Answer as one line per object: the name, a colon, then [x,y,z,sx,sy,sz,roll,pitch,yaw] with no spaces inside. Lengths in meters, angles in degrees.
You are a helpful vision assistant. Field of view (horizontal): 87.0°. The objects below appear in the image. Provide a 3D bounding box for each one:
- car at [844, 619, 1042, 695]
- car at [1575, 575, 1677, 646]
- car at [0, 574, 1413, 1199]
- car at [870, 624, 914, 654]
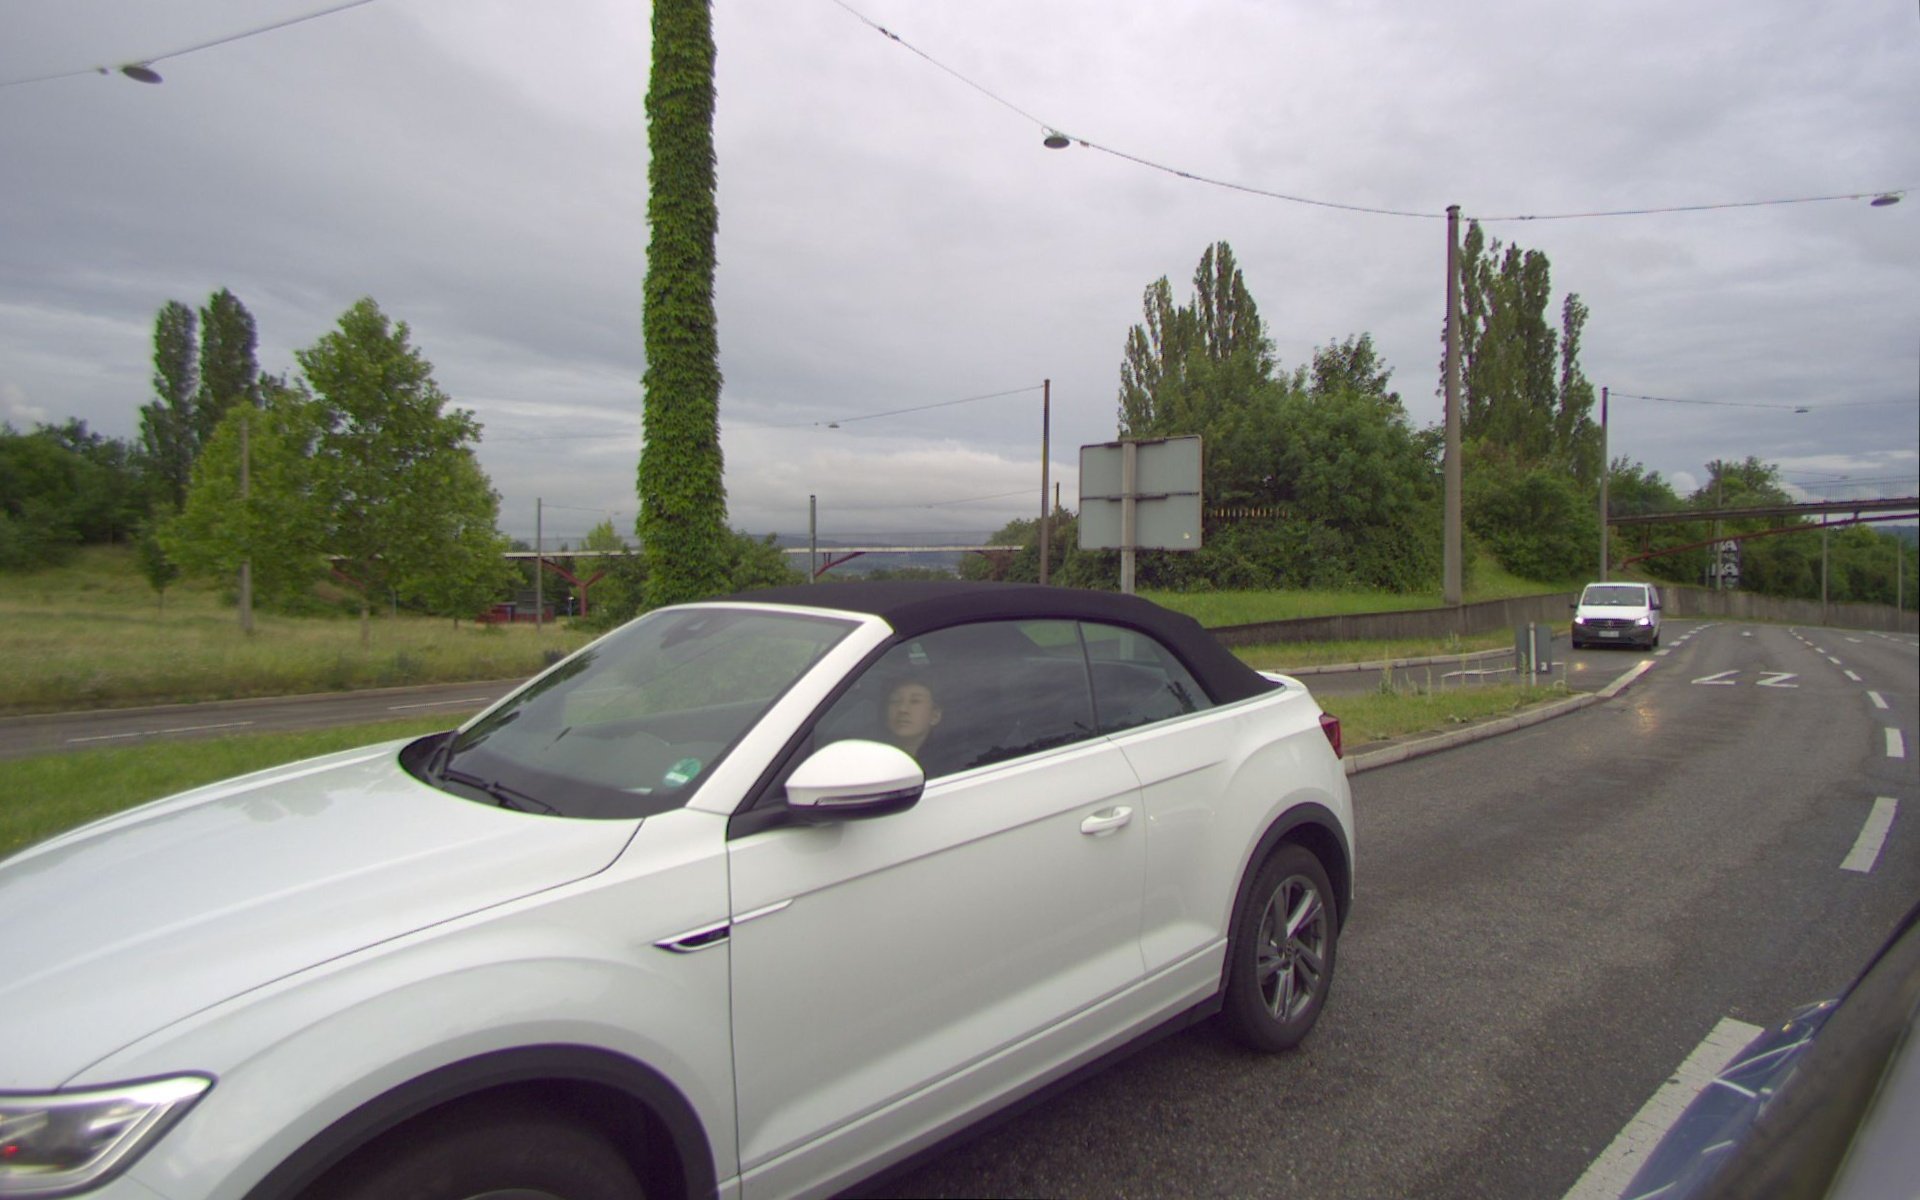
car: [-0.405,1.140,21.604,4.054,1.438,1.665,0,-1,35]
car: [19.190,0.243,29.074,1.990,1.871,4.757,-2,0,39]
car: [-0.363,0.725,2.999,4.160,1.572,1.714,-1,1,-44]
car: [-3.918,2.259,58.939,1.673,1.494,4.281,0,1,9]
